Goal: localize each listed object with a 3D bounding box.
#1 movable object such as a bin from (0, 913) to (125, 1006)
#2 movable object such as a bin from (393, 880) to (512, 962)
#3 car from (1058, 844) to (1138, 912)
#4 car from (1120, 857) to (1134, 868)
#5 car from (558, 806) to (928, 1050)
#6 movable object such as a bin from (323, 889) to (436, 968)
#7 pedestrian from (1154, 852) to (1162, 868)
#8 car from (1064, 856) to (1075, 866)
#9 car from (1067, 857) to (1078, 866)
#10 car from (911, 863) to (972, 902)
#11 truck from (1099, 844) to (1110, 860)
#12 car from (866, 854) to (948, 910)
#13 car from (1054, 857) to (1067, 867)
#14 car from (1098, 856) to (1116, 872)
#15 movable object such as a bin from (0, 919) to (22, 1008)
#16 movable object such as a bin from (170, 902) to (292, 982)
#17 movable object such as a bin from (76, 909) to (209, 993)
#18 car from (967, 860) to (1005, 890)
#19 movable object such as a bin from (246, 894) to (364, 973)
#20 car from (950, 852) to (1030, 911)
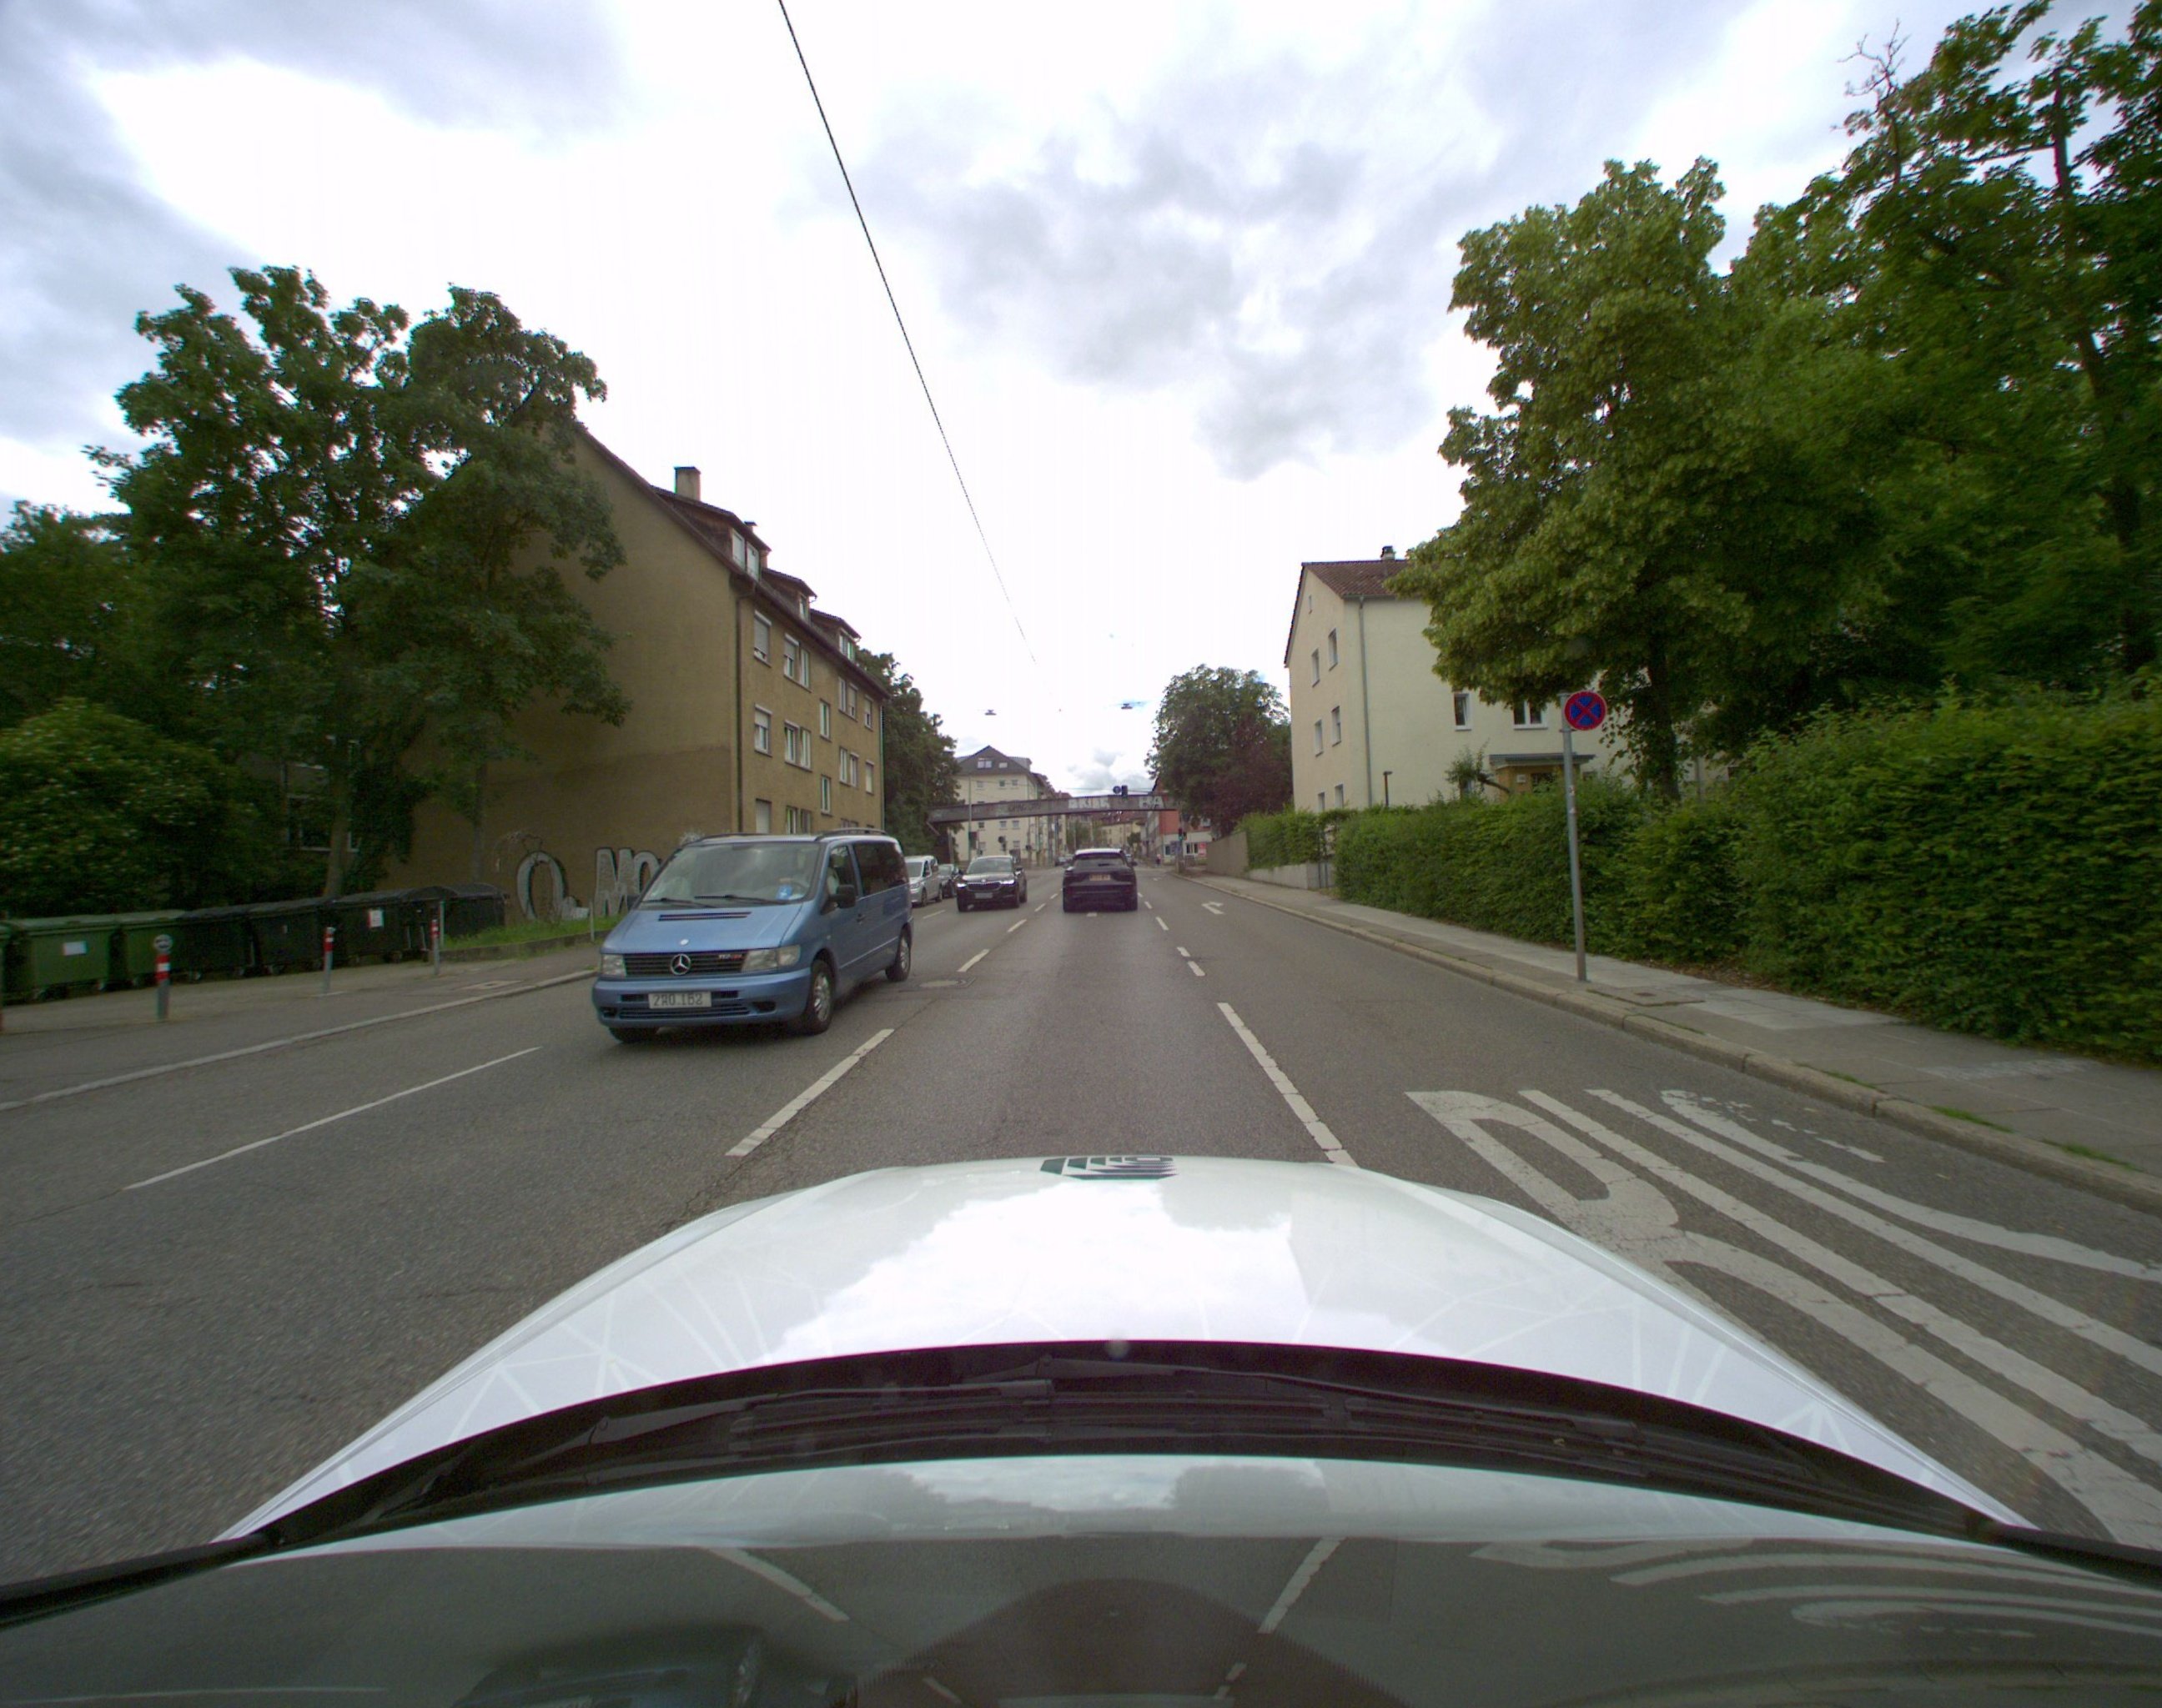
[{"bbox_3d":[-18.053,1.819,14.279,0.907,1.428,1.397,-1,0,0],"label":"movable object such as a bin"},{"bbox_3d":[-12.058,1.254,15.683,1.278,1.428,1.278,-1,0,-3],"label":"movable object such as a bin"},{"bbox_3d":[0.519,0.584,22.657,1.986,1.662,4.002,-2,1,2],"label":"car"},{"bbox_3d":[6.201,1.152,110.292,1.734,1.400,4.002,-2,1,2],"label":"car"},{"bbox_3d":[-3.175,0.595,8.895,1.924,1.901,4.591,-3,0,2],"label":"car"},{"bbox_3d":[-13.717,1.435,15.963,1.388,1.428,0.913,-1,0,-1],"label":"movable object such as a bin"},{"bbox_3d":[8.327,0.656,88.165,0.650,1.792,0.714,-2,-1,-1],"label":"pedestrian"},{"bbox_3d":[-1.997,1.180,142.533,1.758,1.650,4.003,-2,0,3],"label":"car"},{"bbox_3d":[-1.506,1.414,151.467,1.758,1.650,4.003,-2,0,3],"label":"car"},{"bbox_3d":[-5.889,1.165,34.730,1.739,1.439,3.914,-4,0,2],"label":"car"},{"bbox_3d":[5.393,-0.493,183.993,2.258,3.424,9.881,-2,0,2],"label":"truck"},{"bbox_3d":[-6.132,0.918,29.241,1.770,1.754,4.559,-3,0,2],"label":"car"},{"bbox_3d":[-3.176,1.246,125.937,1.758,1.508,4.003,-2,0,3],"label":"car"},{"bbox_3d":[2.565,0.954,80.365,1.734,1.400,4.002,-2,1,2],"label":"car"},{"bbox_3d":[-18.066,1.808,12.830,0.907,1.428,1.397,-1,0,0],"label":"movable object such as a bin"},{"bbox_3d":[-16.573,1.692,15.910,1.388,1.428,0.913,-1,0,-1],"label":"movable object such as a bin"},{"bbox_3d":[-18.054,1.830,15.711,0.907,1.428,1.397,-1,0,0],"label":"movable object such as a bin"},{"bbox_3d":[-5.587,1.206,48.286,1.740,1.568,3.907,-4,0,0],"label":"car"},{"bbox_3d":[-15.151,1.537,15.942,1.388,1.428,0.913,-1,0,-1],"label":"movable object such as a bin"},{"bbox_3d":[-2.729,0.801,25.366,1.833,1.590,4.166,-3,0,2],"label":"car"}]
